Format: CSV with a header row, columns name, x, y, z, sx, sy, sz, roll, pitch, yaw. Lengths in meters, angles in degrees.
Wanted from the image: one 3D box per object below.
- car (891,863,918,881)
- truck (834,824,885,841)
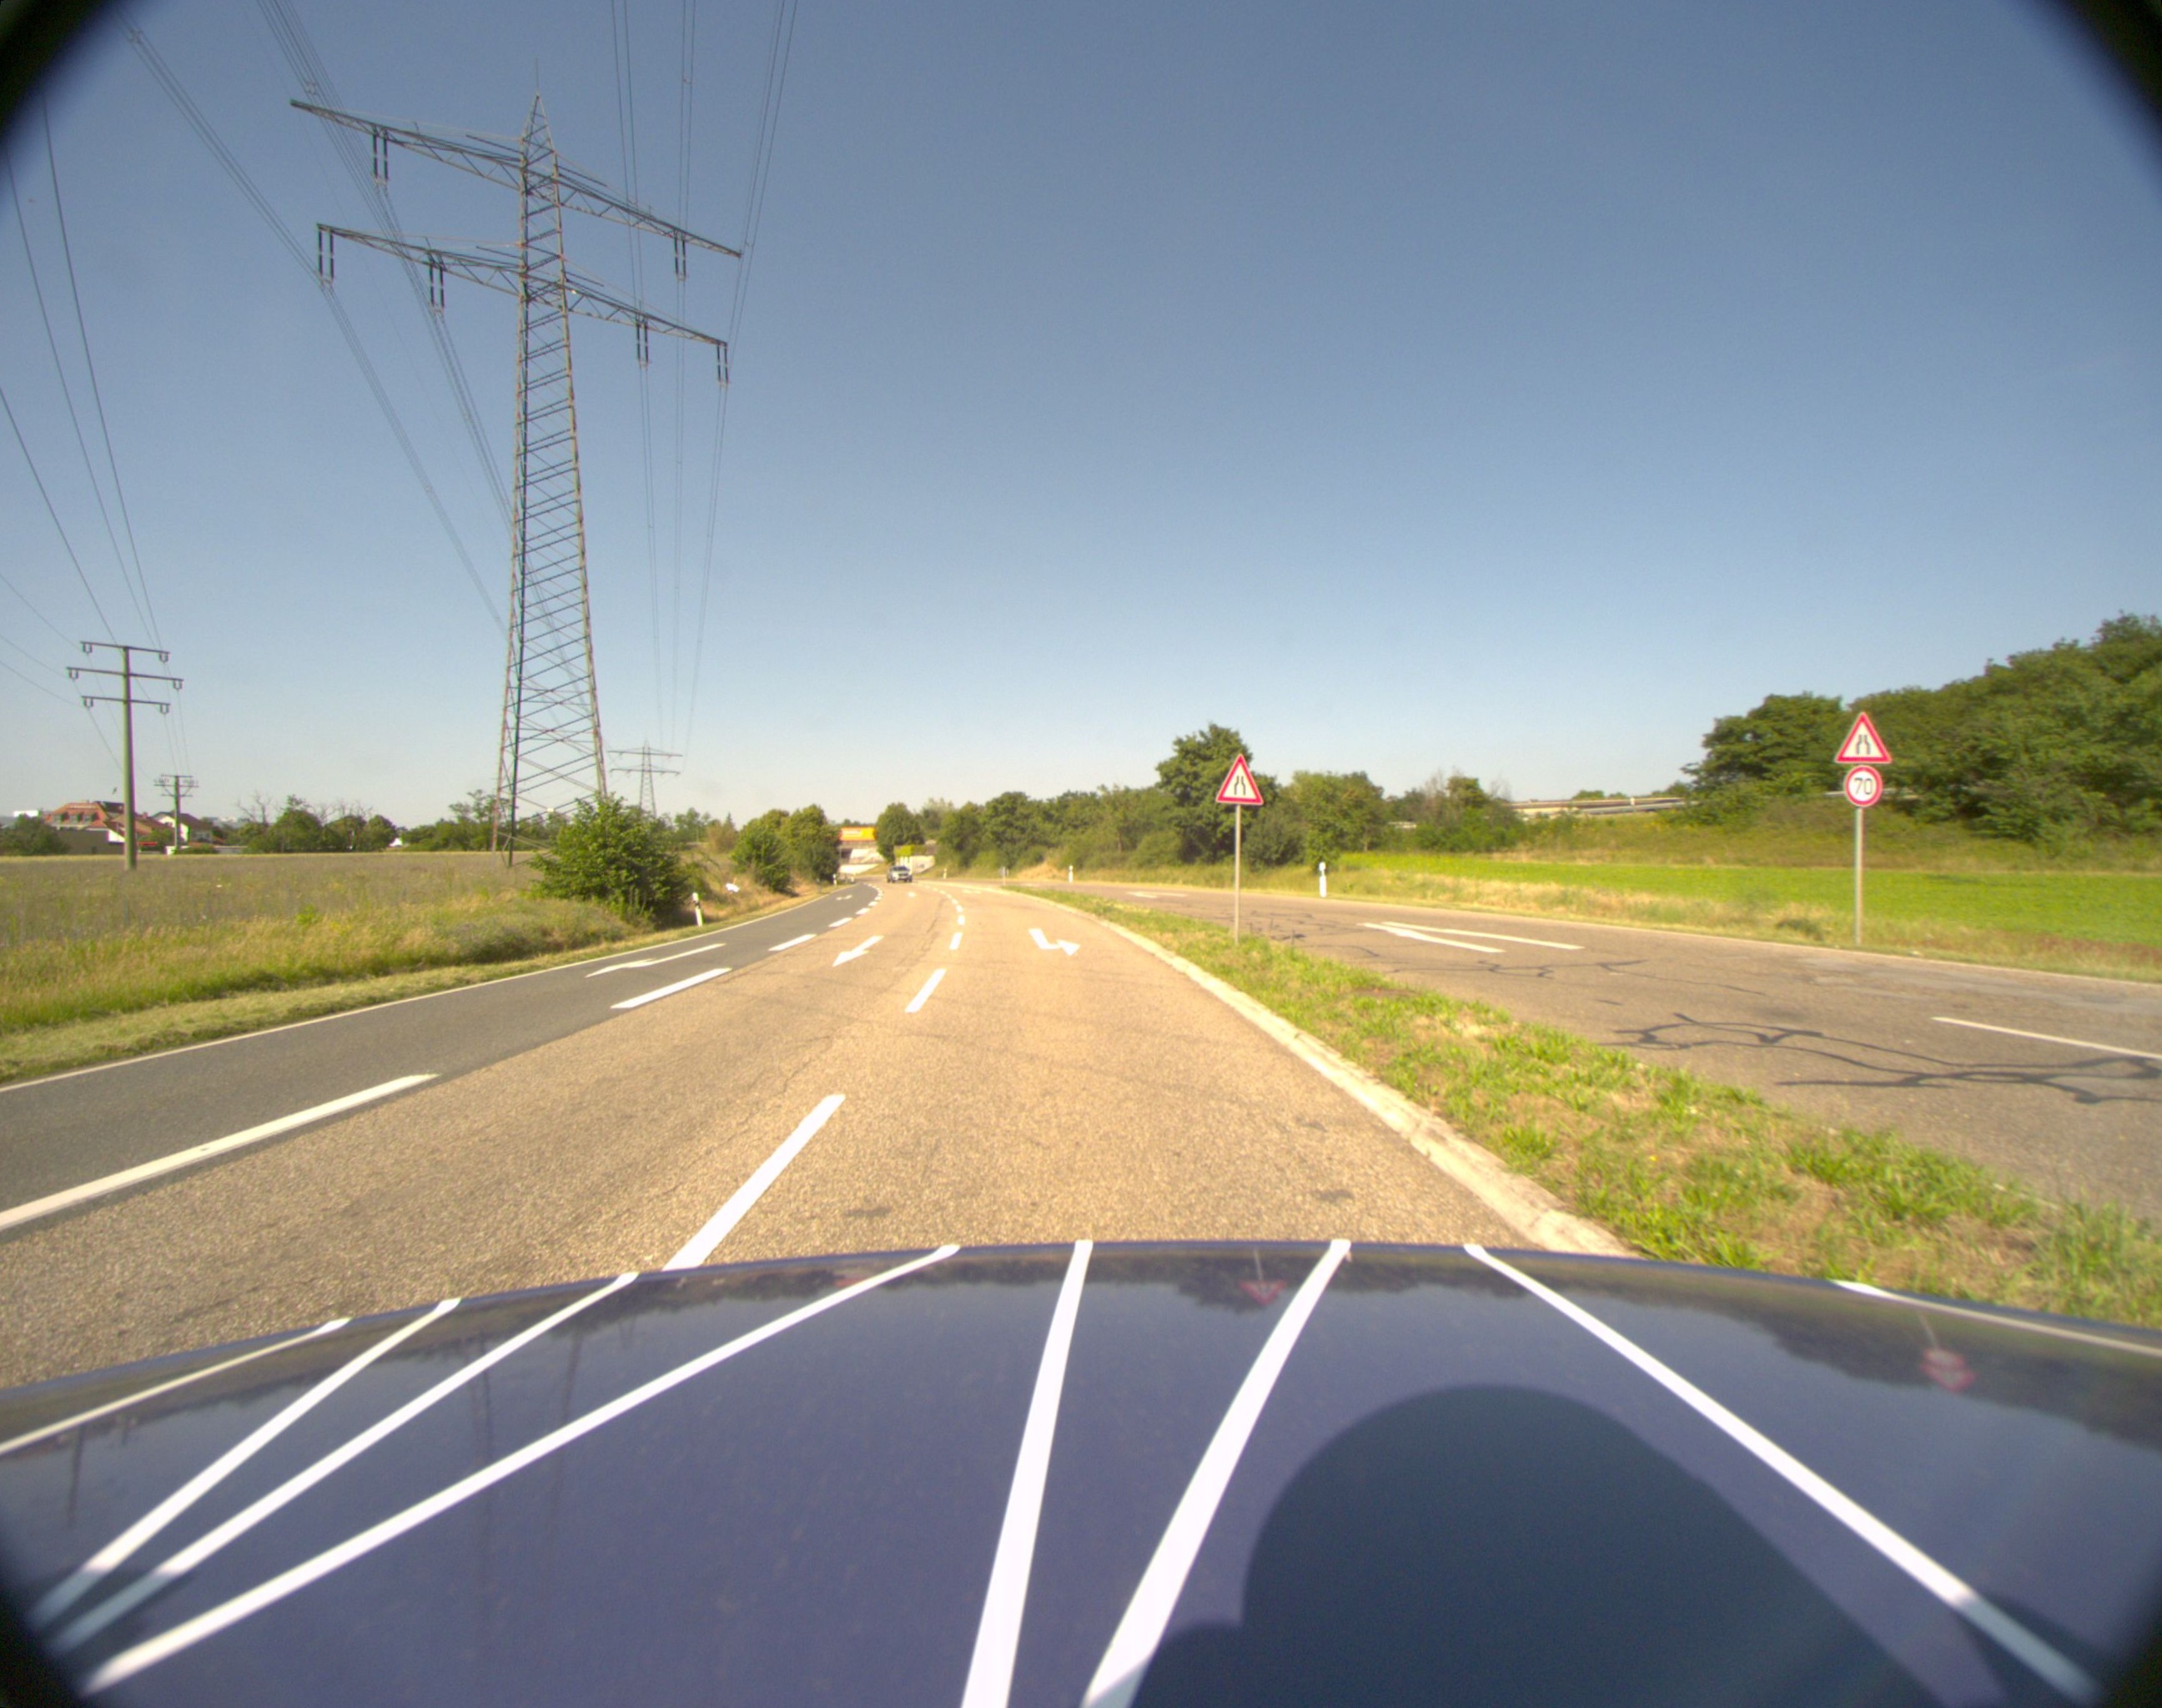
name,x,y,z,sx,sy,sz,roll,pitch,yaw
car,-16.834,1.669,72.247,1.863,1.609,3.641,-2,0,-23
truck,-48.212,-4.719,165.506,11.260,3.165,2.165,-2,1,19
